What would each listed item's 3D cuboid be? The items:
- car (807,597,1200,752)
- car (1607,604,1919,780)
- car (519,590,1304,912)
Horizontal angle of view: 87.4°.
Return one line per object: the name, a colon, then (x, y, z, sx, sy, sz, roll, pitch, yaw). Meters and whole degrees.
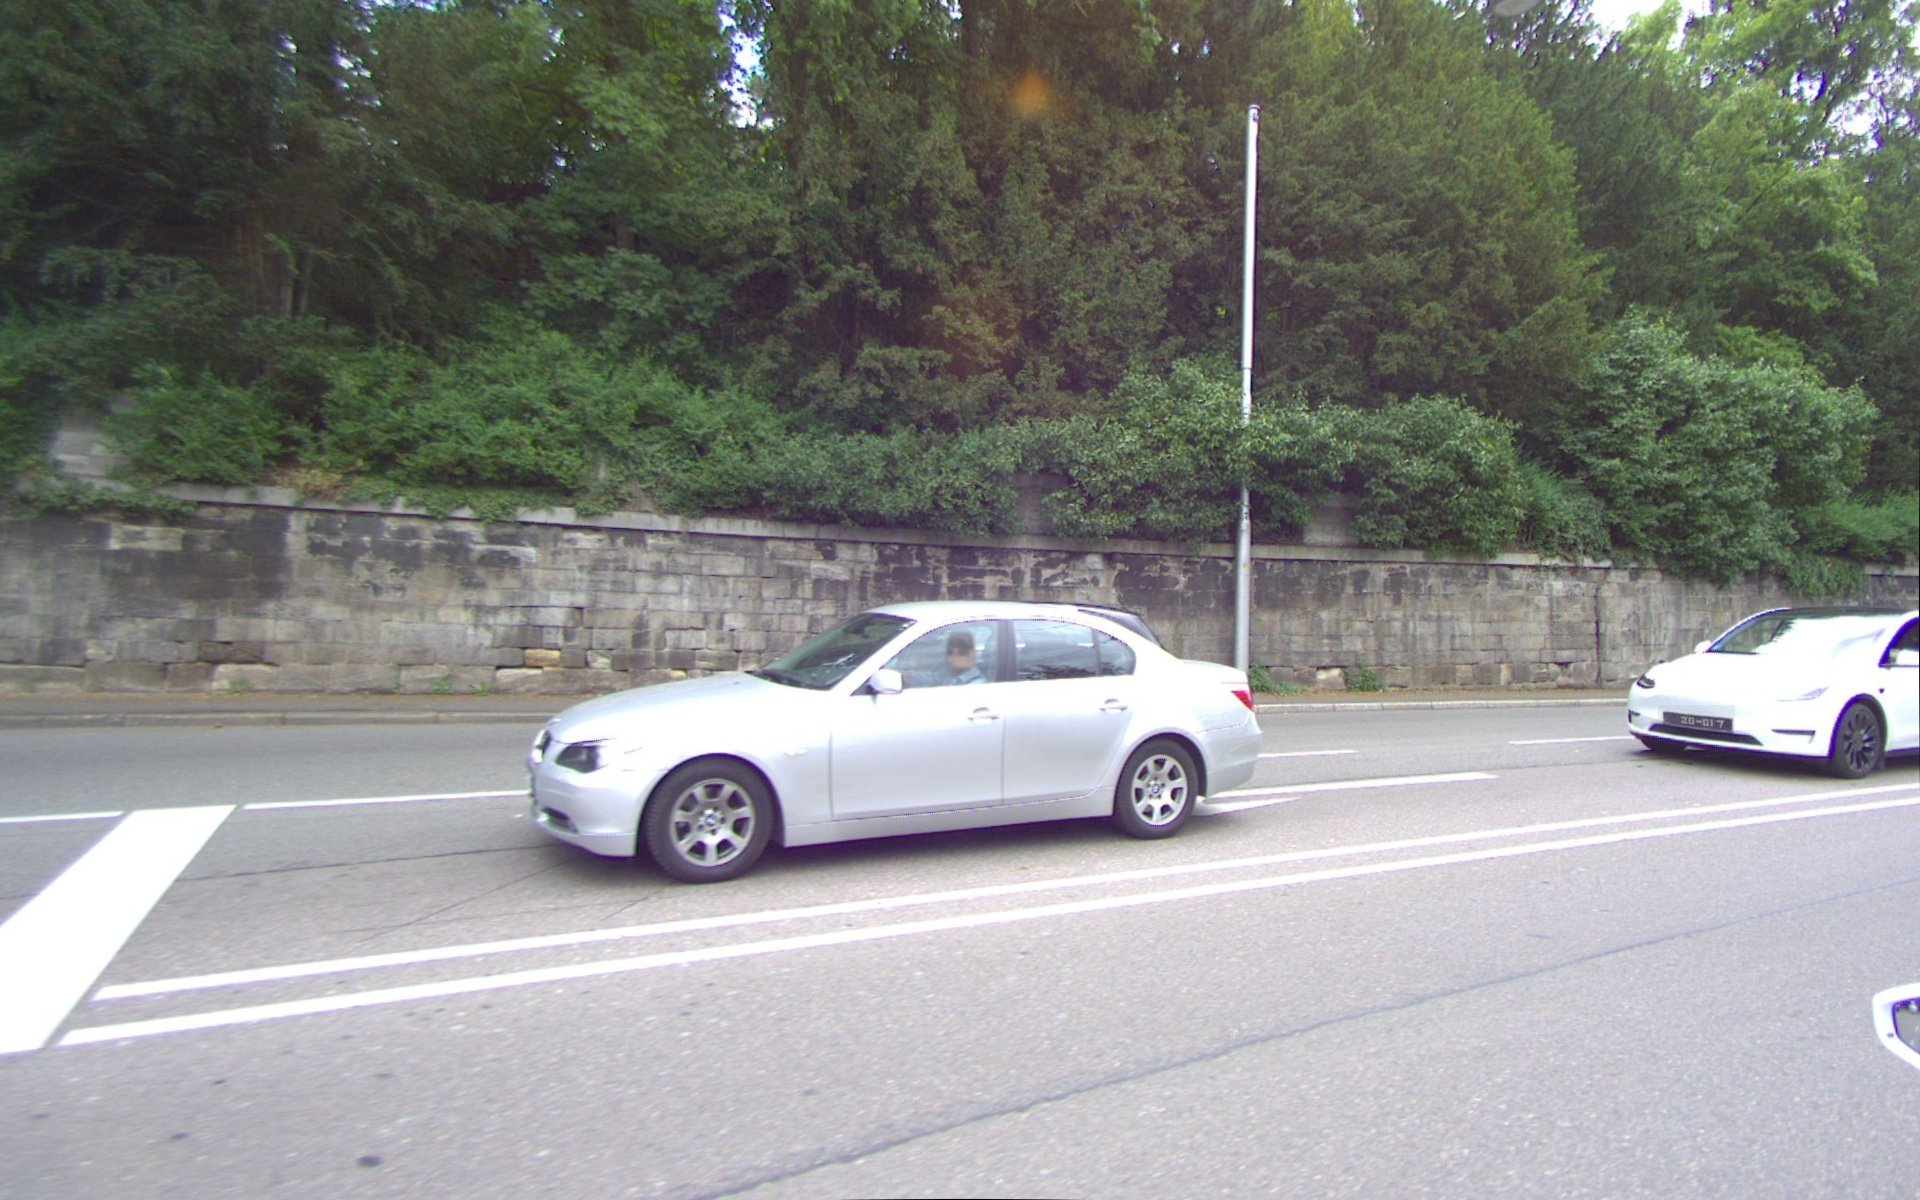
car: (0.433, 0.741, 11.092, 3.985, 1.471, 1.732, 1, 1, -18)
car: (9.428, 0.855, 10.795, 4.720, 1.575, 1.833, 1, 0, -23)
car: (-0.243, 0.749, 6.633, 4.814, 1.489, 1.987, 1, -1, -27)
